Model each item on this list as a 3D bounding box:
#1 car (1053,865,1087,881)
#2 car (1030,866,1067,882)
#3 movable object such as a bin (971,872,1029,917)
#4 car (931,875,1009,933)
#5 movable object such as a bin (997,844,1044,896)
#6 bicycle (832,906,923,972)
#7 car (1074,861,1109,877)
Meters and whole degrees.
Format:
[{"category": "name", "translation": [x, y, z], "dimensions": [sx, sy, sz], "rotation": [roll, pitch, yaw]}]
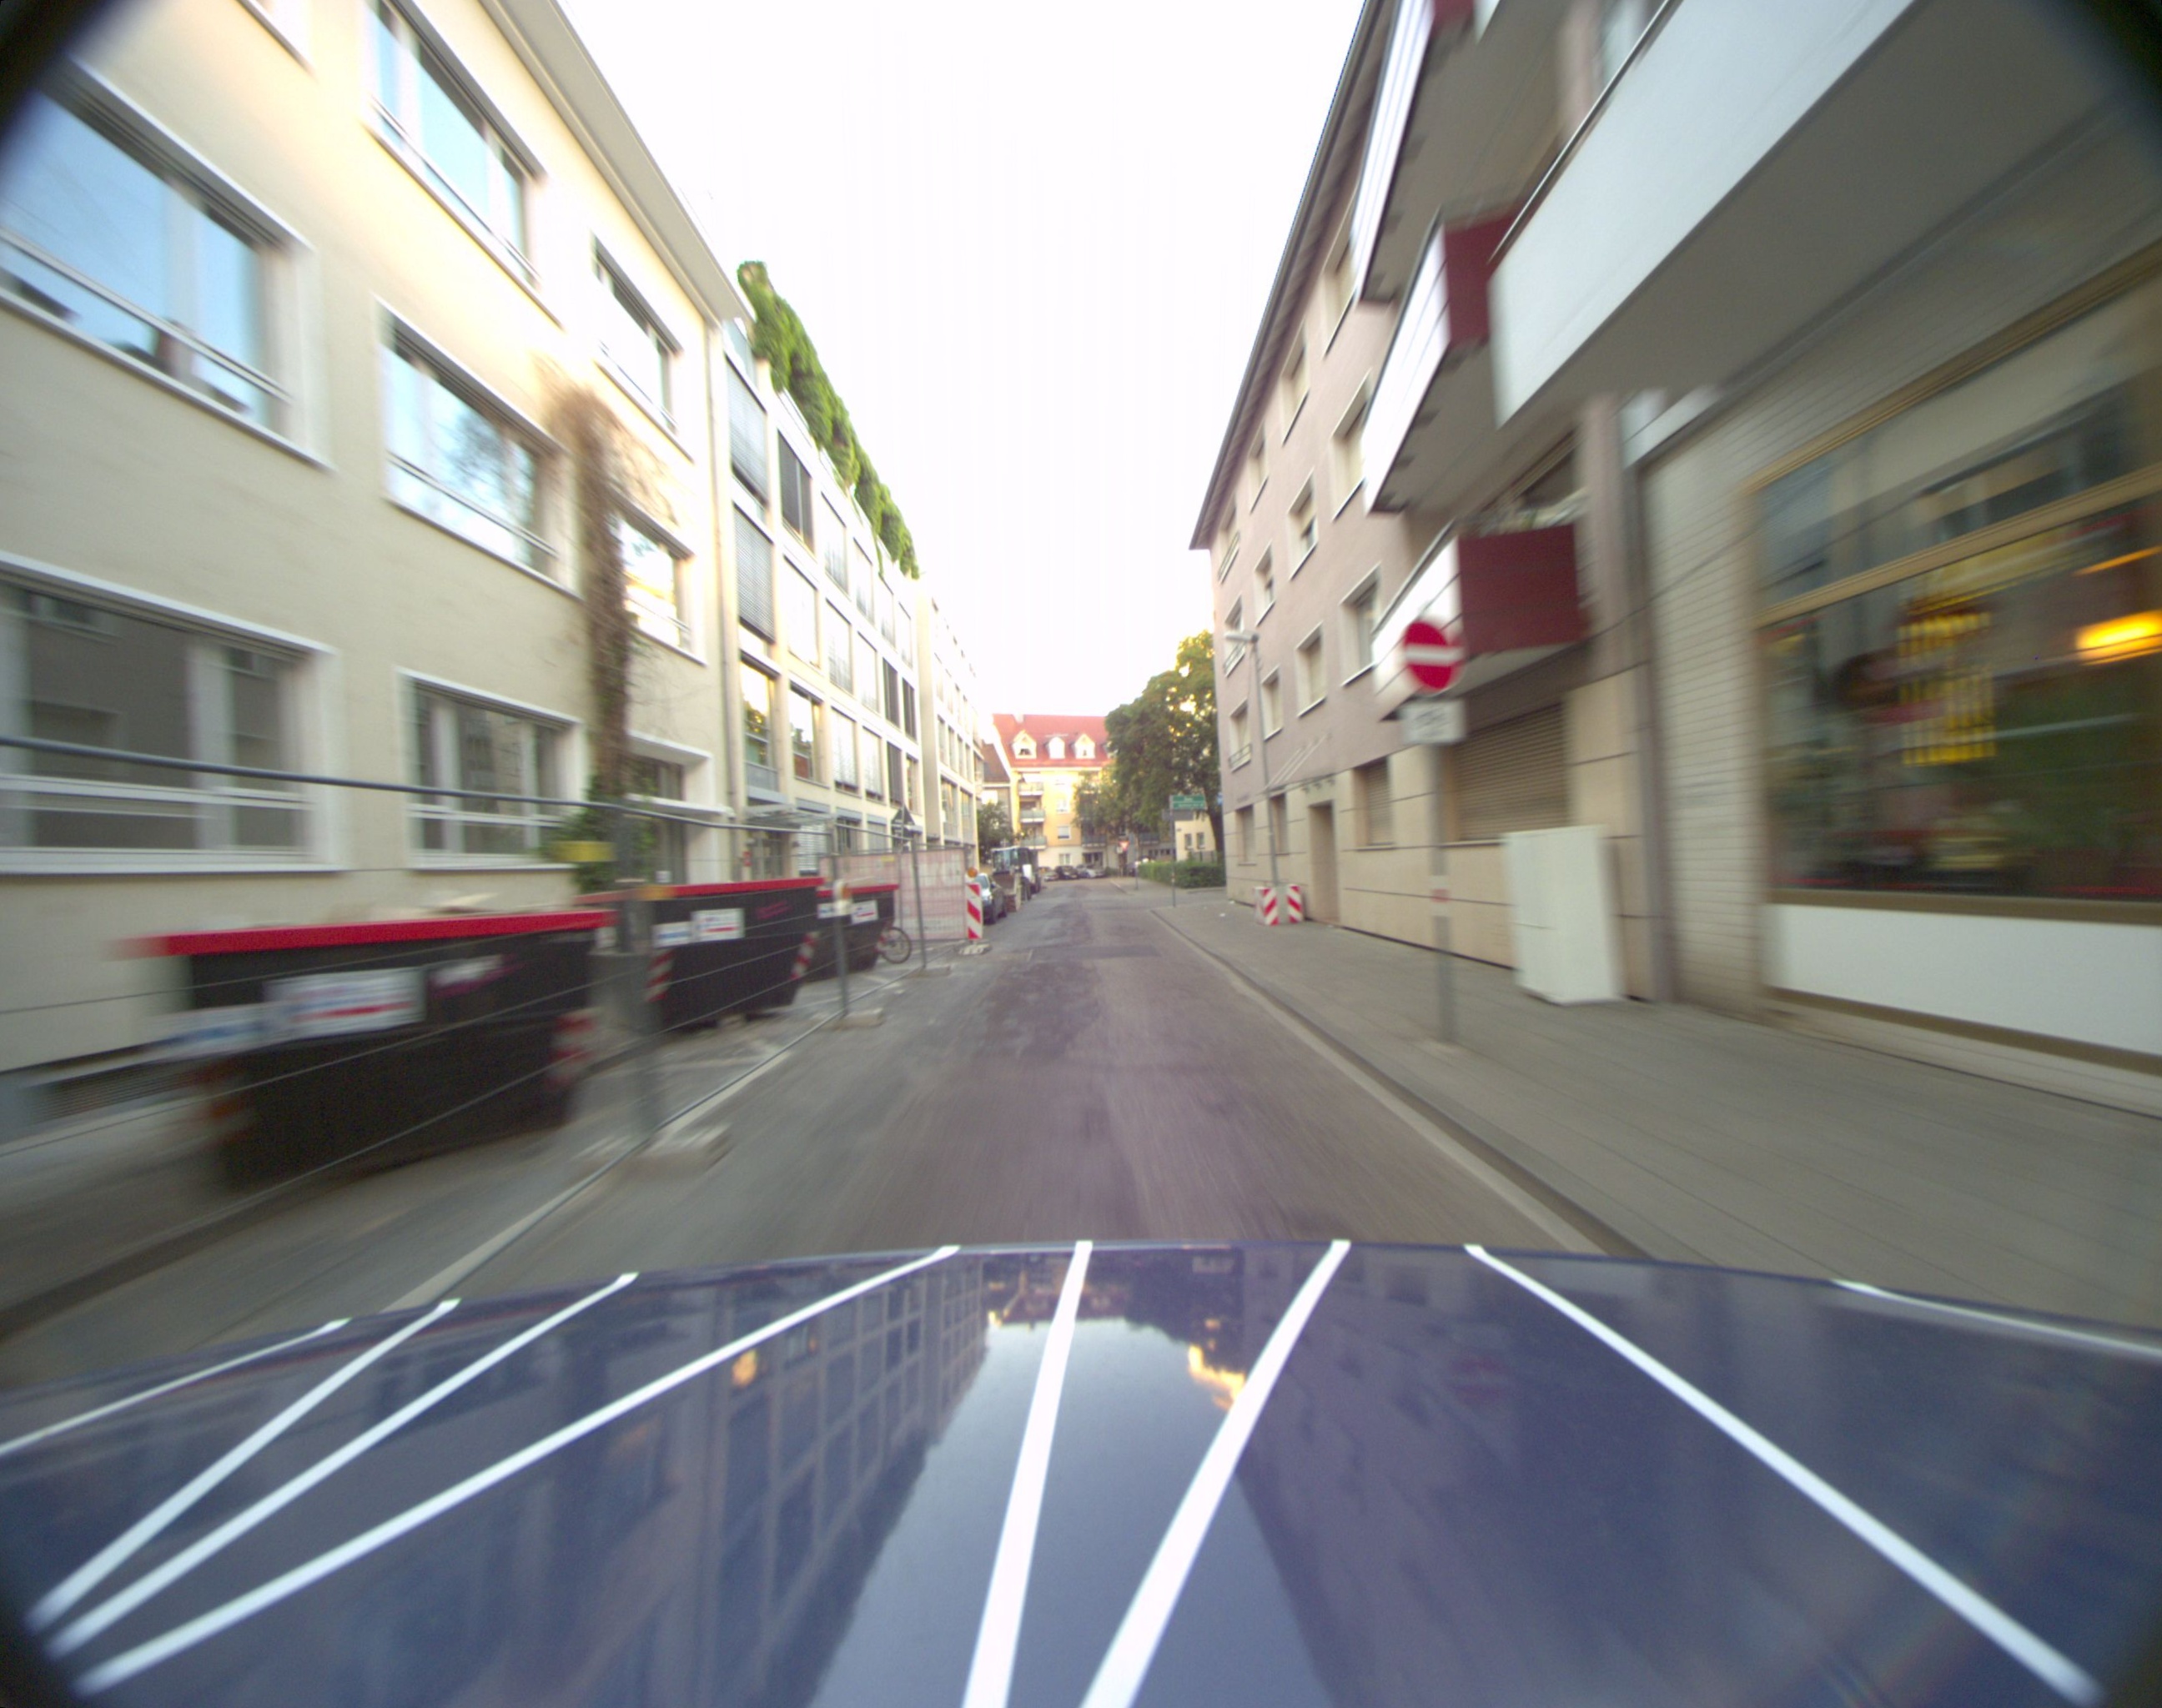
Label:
[{"category": "car", "translation": [-1.163, 1.921, 76.442], "dimensions": [1.795, 1.466, 3.992], "rotation": [-2, 0, -27]}, {"category": "car", "translation": [-3.244, 2.006, 75.362], "dimensions": [1.795, 1.466, 3.991], "rotation": [-2, 0, -33]}, {"category": "movable object such as a bin", "translation": [-2.752, 1.349, 26.473], "dimensions": [1.493, 1.285, 3.779], "rotation": [-4, 0, 1]}, {"category": "car", "translation": [-3.006, 1.324, 21.277], "dimensions": [1.493, 1.285, 3.779], "rotation": [-4, 0, 1]}, {"category": "movable object such as a bin", "translation": [-3.369, 0.884, 43.060], "dimensions": [2.096, 2.631, 4.373], "rotation": [-4, 0, 1]}, {"category": "bicycle", "translation": [-3.613, 1.468, 13.402], "dimensions": [1.771, 1.076, 0.474], "rotation": [-3, 0, 35]}, {"category": "car", "translation": [1.067, 1.544, 77.136], "dimensions": [1.795, 1.466, 3.991], "rotation": [-2, 0, -29]}]
